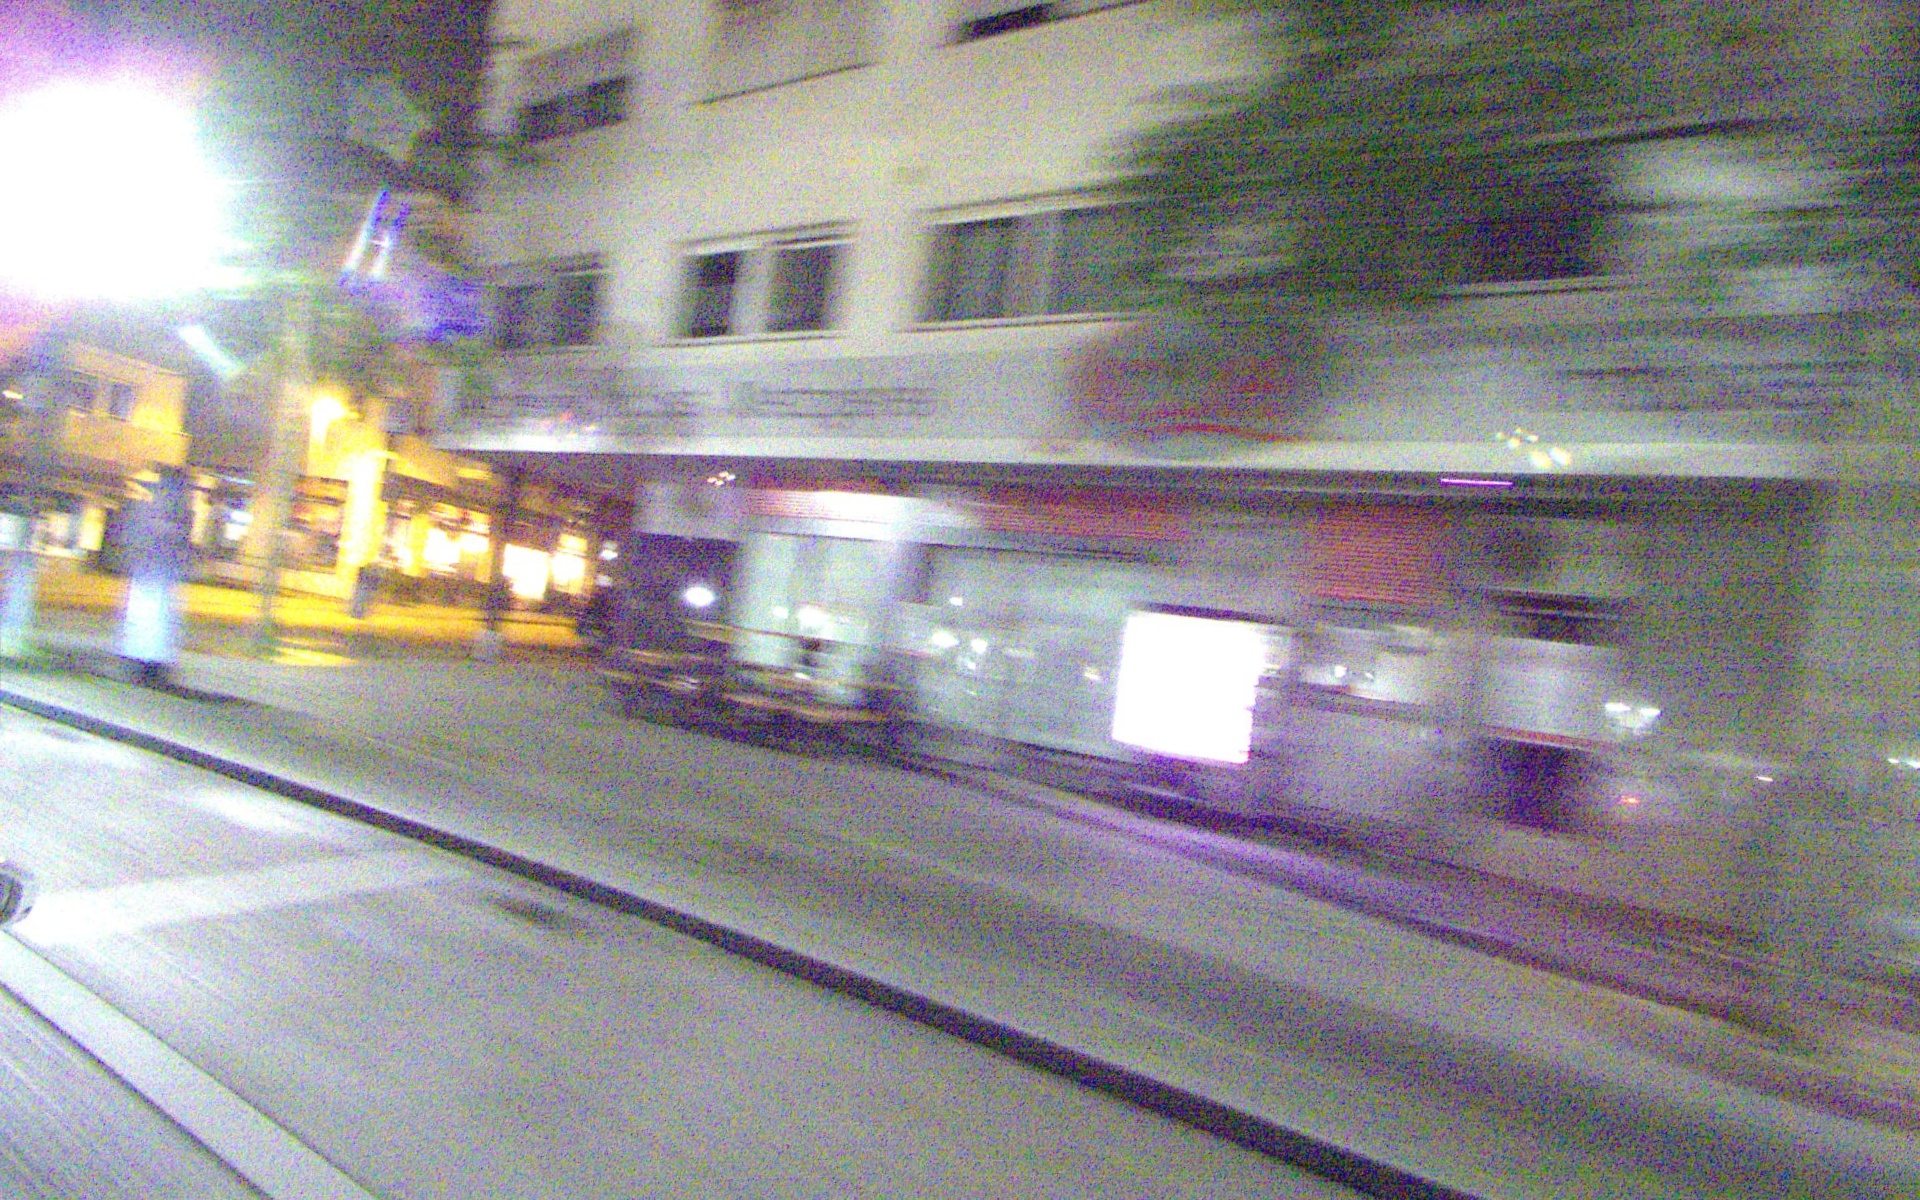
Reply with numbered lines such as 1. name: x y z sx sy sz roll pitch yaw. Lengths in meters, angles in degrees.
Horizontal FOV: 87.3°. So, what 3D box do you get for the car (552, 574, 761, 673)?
1. car: -7.307 0.586 24.312 4.257 1.678 2.004 8 -3 17
